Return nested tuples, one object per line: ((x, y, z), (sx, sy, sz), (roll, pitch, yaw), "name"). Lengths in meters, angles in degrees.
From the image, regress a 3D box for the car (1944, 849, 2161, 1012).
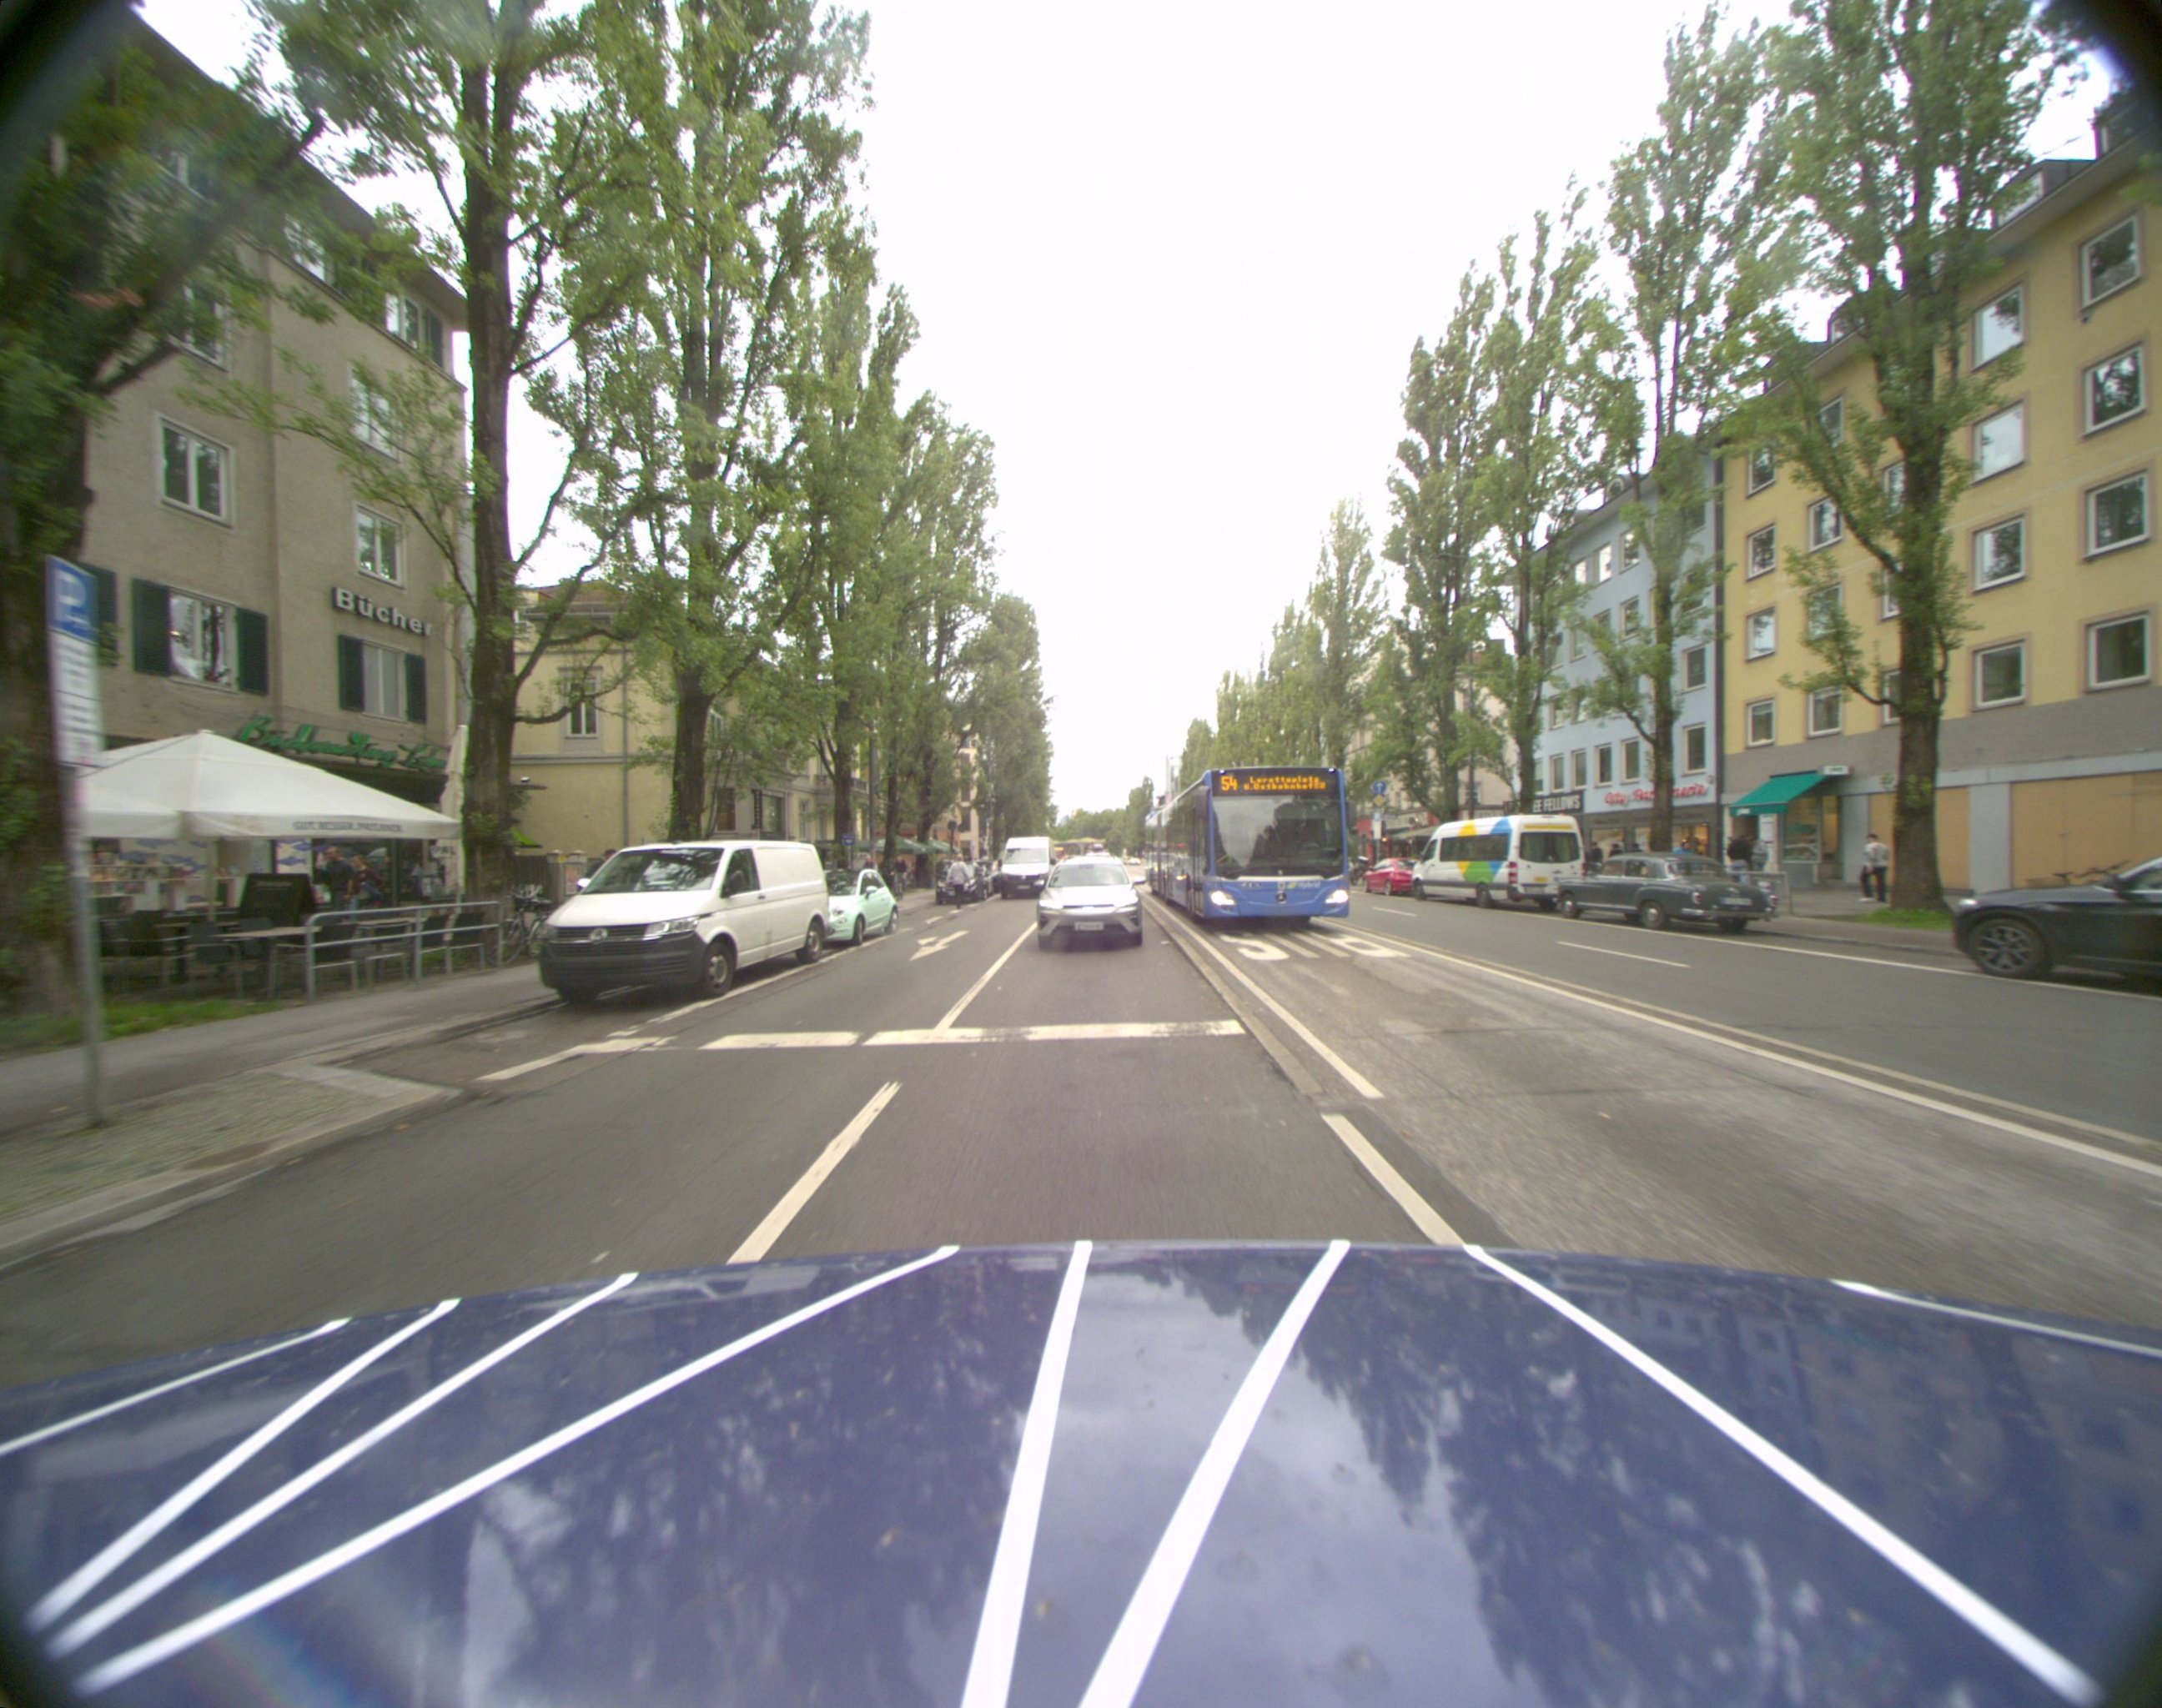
((11.636, 0.775, 7.256), (1.707, 1.623, 4.503), (0, 1, 1), "car")

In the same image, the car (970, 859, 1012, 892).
((-4.430, 1.028, 37.673), (1.475, 1.518, 3.603), (-1, 0, 2), "car")

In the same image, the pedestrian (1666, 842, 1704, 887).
((19.487, 0.344, 24.516), (0.768, 1.430, 0.551), (-1, 1, -3), "pedestrian")

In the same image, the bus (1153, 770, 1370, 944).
((3.630, 0.047, 19.186), (2.806, 2.886, 12.859), (-1, 0, 2), "bus")

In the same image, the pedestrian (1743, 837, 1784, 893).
((21.171, 0.342, 23.579), (0.640, 1.694, 0.724), (-1, 1, 1), "pedestrian")

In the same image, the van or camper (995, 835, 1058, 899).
((-2.241, 0.525, 33.154), (1.998, 2.470, 6.644), (-2, 0, 2), "van or camper")

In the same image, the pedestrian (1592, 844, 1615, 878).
((22.371, 0.281, 32.534), (0.609, 1.430, 0.551), (-1, 1, -3), "pedestrian")

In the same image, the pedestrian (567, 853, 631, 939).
((-10.262, 0.873, 16.171), (0.941, 1.756, 0.837), (-1, 1, 38), "pedestrian")

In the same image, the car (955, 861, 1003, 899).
((-4.377, 1.078, 33.018), (1.475, 1.518, 3.603), (-1, 0, 2), "car")

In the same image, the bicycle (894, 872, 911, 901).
((-7.063, 1.288, 30.098), (0.339, 1.087, 1.374), (-1, 0, -1), "bicycle")

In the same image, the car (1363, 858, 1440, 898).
((12.412, 0.886, 29.657), (1.559, 1.403, 3.761), (-1, 0, 3), "car")

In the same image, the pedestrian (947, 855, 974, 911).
((-3.923, 0.930, 24.690), (0.791, 1.747, 0.769), (-2, 0, -9), "pedestrian")

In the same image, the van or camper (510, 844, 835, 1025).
((-5.117, 0.865, 10.413), (1.795, 1.894, 4.566), (-1, 0, 2), "van or camper")

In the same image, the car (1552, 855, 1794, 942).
((12.057, 0.812, 15.913), (1.707, 1.520, 4.260), (0, 1, 0), "car")

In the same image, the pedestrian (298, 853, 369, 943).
((-14.490, 0.836, 14.749), (0.629, 1.709, 0.681), (-2, 0, 2), "pedestrian")

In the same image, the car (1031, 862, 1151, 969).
((0.187, 0.943, 13.348), (1.758, 1.529, 3.917), (-2, 0, 1), "car")

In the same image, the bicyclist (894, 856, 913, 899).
((-7.033, 0.915, 30.115), (0.585, 1.668, 0.819), (-1, 1, -2), "bicyclist")

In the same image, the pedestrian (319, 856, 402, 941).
((-13.789, 0.831, 14.573), (0.696, 1.568, 0.874), (-2, 0, 2), "pedestrian")

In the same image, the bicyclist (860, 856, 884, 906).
((-7.137, 0.911, 25.980), (0.568, 1.641, 0.661), (-2, 1, -2), "bicyclist")

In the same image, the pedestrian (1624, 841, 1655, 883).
((22.185, 0.329, 30.182), (0.723, 1.641, 0.706), (-1, 1, 2), "pedestrian")

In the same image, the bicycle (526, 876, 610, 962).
((-9.575, 1.145, 14.294), (0.829, 1.403, 2.595), (-2, 0, -24), "bicycle")

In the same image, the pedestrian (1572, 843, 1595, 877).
((21.585, 0.261, 32.623), (0.609, 1.430, 0.551), (-1, 1, 0), "pedestrian")

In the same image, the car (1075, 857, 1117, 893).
((0.699, 0.927, 35.200), (1.758, 1.529, 3.917), (-2, 0, 1), "car")

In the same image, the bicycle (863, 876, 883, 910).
((-7.140, 1.314, 26.099), (0.286, 1.087, 1.374), (-1, 0, -1), "bicycle")

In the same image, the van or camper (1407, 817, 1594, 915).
((12.215, 0.307, 22.860), (2.131, 2.536, 6.644), (0, 0, 2), "van or camper")

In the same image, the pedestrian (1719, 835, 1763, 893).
((20.438, 0.307, 23.533), (0.732, 1.755, 0.724), (-1, 1, 0), "pedestrian")

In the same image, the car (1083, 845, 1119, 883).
((1.245, 0.594, 47.564), (2.024, 2.235, 4.411), (-2, 0, 1), "car")

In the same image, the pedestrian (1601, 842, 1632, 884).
((21.269, 0.365, 30.184), (0.723, 1.641, 0.678), (-1, 1, 2), "pedestrian")

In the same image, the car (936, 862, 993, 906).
((-4.401, 1.085, 29.097), (1.475, 1.518, 3.603), (-1, 0, 2), "car")

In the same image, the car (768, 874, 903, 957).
((-4.846, 1.149, 15.463), (1.475, 1.389, 3.483), (-1, 0, 2), "car")

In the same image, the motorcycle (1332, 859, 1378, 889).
((12.962, 0.944, 35.947), (2.023, 1.413, 0.570), (-1, 1, -5), "motorcycle")

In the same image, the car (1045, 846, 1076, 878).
((-1.468, 0.577, 56.126), (2.024, 2.235, 4.411), (-2, 0, 1), "car")

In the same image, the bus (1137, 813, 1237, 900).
((4.037, 0.072, 32.075), (2.806, 2.886, 12.859), (-1, 0, 2), "bus")

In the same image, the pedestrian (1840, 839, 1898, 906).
((19.712, 0.458, 19.017), (0.723, 1.641, 0.712), (-1, 1, 2), "pedestrian")

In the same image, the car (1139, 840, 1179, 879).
((4.788, 0.320, 47.327), (2.024, 2.235, 4.411), (-2, 0, 1), "car")

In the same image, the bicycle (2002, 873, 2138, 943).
((16.093, 0.873, 12.376), (1.679, 1.109, 0.358), (-1, 1, 2), "bicycle")
